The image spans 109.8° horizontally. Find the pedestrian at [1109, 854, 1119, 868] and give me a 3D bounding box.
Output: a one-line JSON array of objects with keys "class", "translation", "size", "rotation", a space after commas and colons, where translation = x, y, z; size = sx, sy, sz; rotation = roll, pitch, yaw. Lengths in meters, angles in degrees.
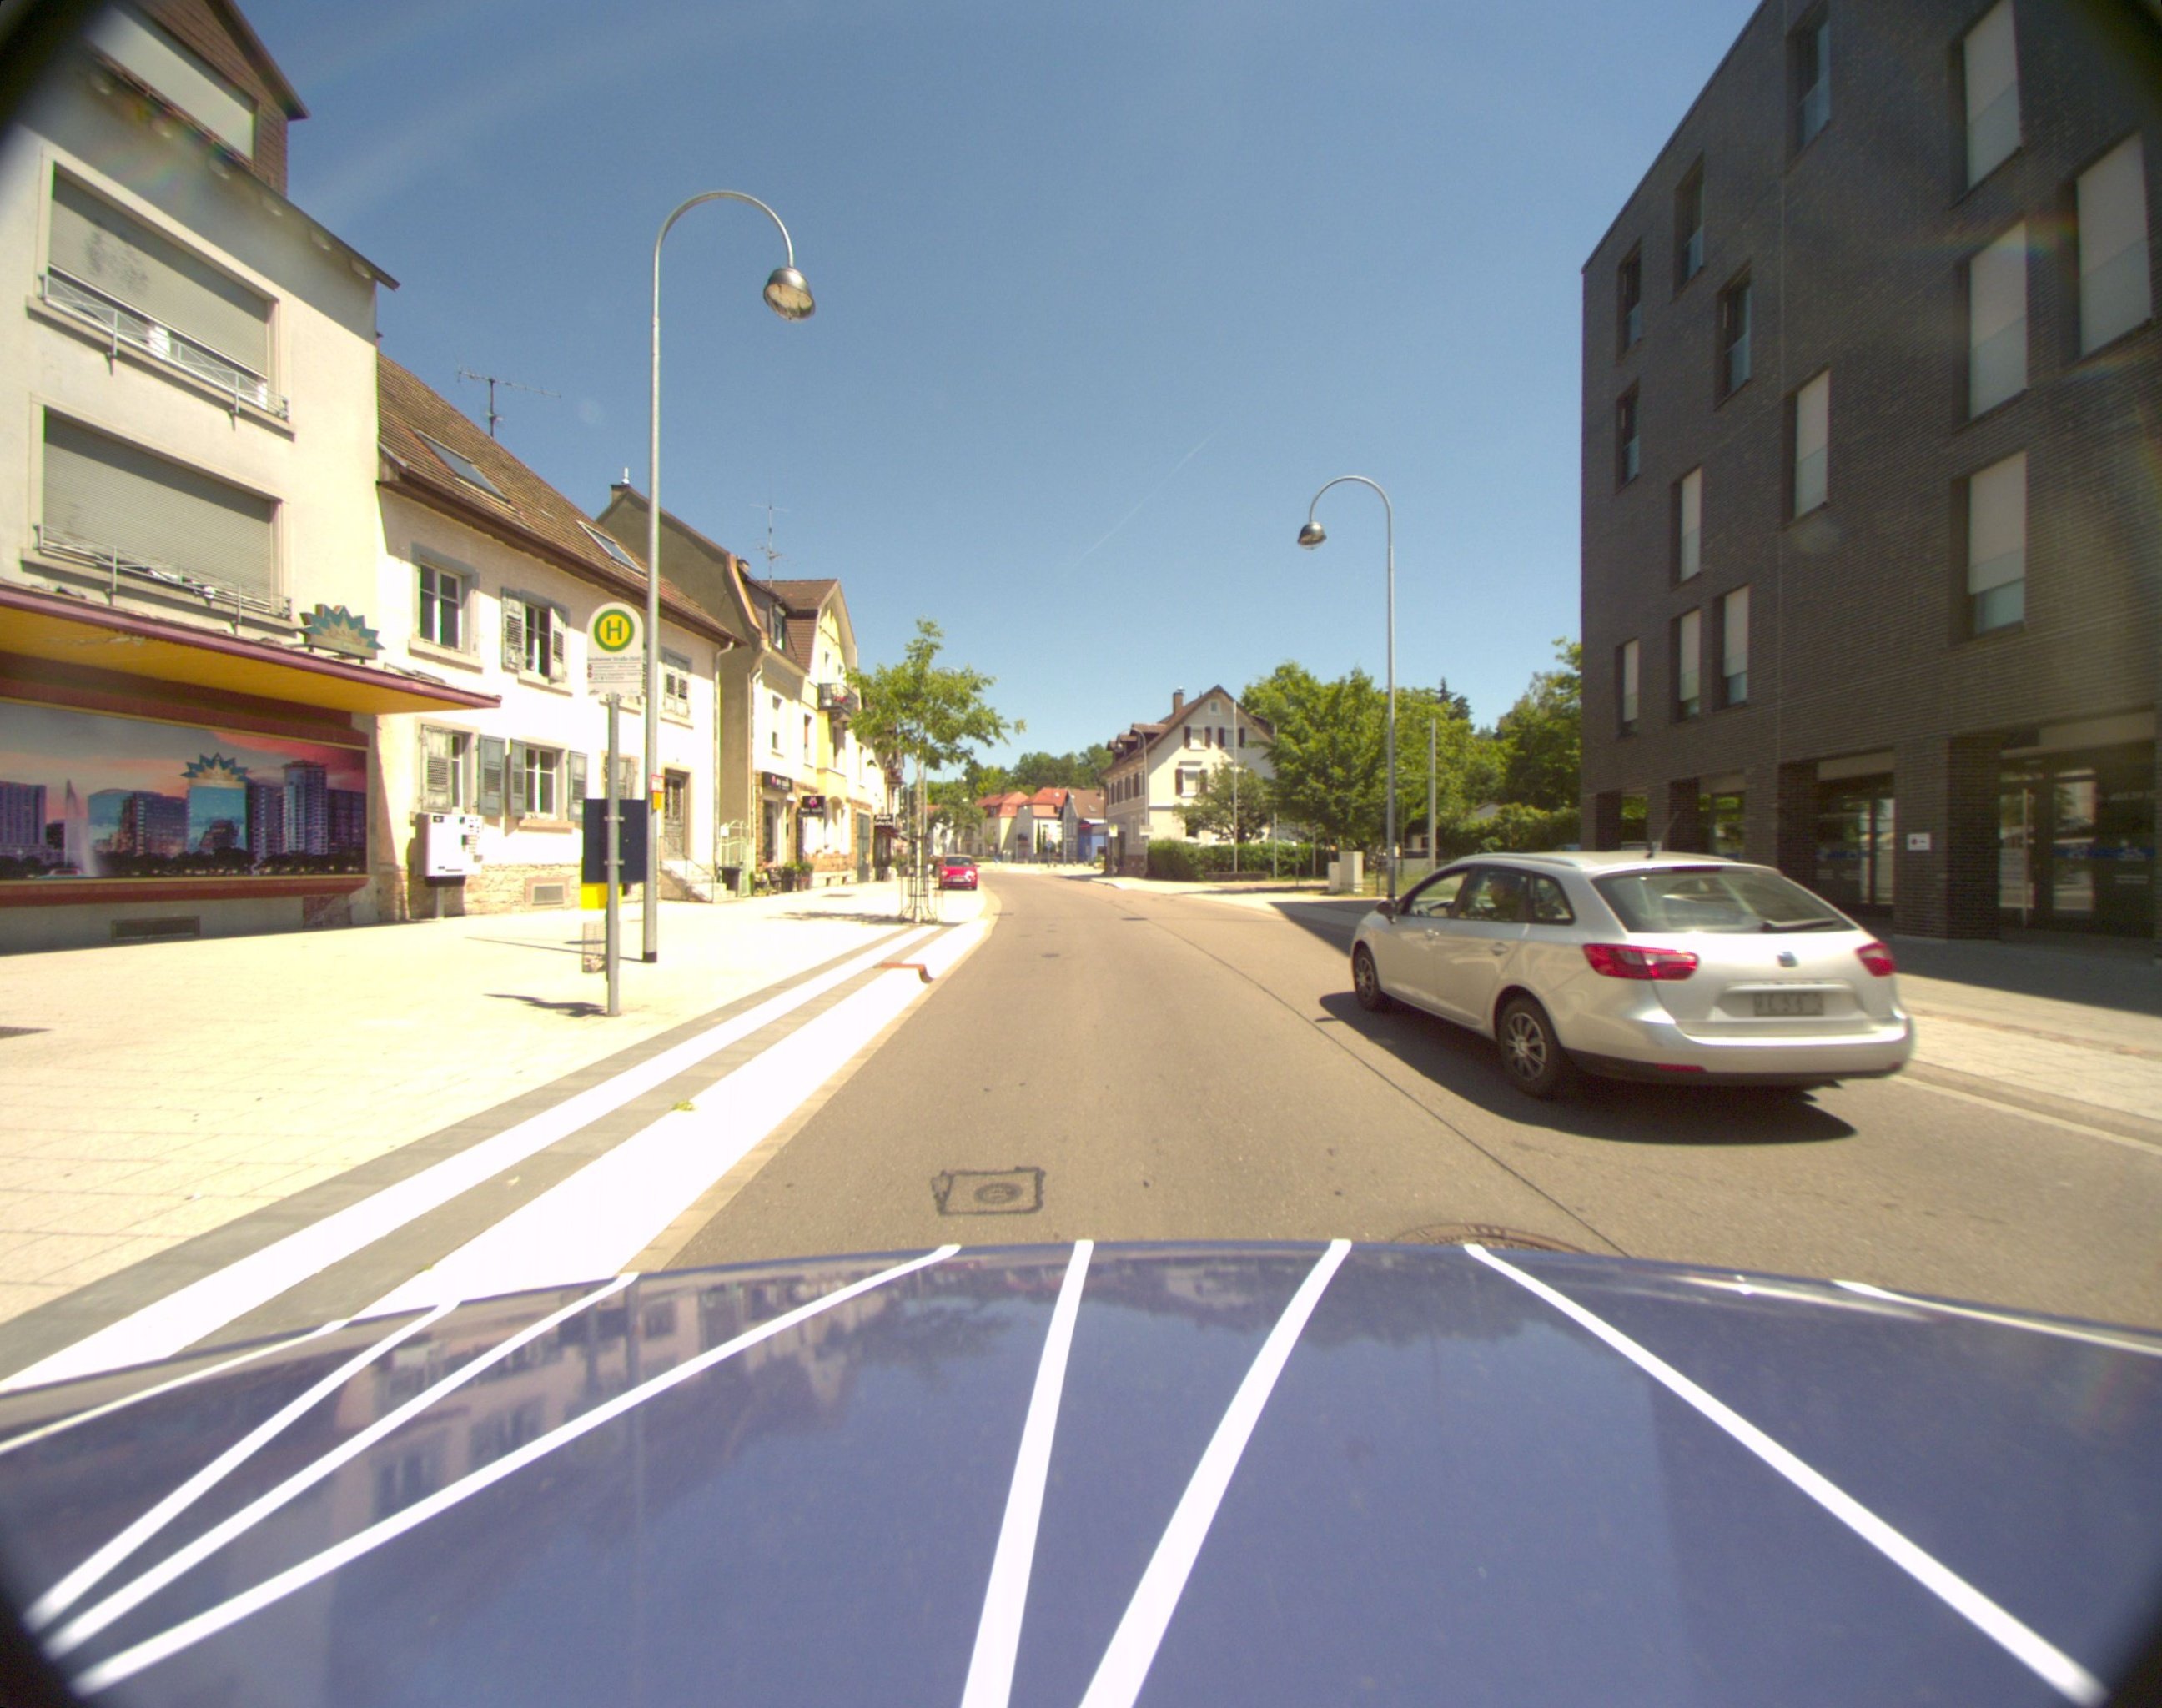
[{"class": "pedestrian", "translation": [2.391, 0.496, 54.761], "size": [0.598, 1.053, 0.566], "rotation": [-1, 1, -12]}]

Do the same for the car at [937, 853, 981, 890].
[{"class": "car", "translation": [-5.192, 0.713, 32.625], "size": [1.684, 1.505, 3.384], "rotation": [0, 0, -6]}]

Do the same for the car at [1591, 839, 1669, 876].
[{"class": "car", "translation": [23.630, 0.146, 32.836], "size": [1.687, 1.483, 3.772], "rotation": [-1, 0, 19]}]

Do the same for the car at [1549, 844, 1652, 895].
[{"class": "car", "translation": [16.276, 0.416, 24.014], "size": [1.696, 1.477, 4.086], "rotation": [0, 1, 20]}]

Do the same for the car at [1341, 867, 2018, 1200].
[{"class": "car", "translation": [3.375, 0.840, 5.353], "size": [1.671, 1.388, 3.846], "rotation": [-1, 0, -2]}]
